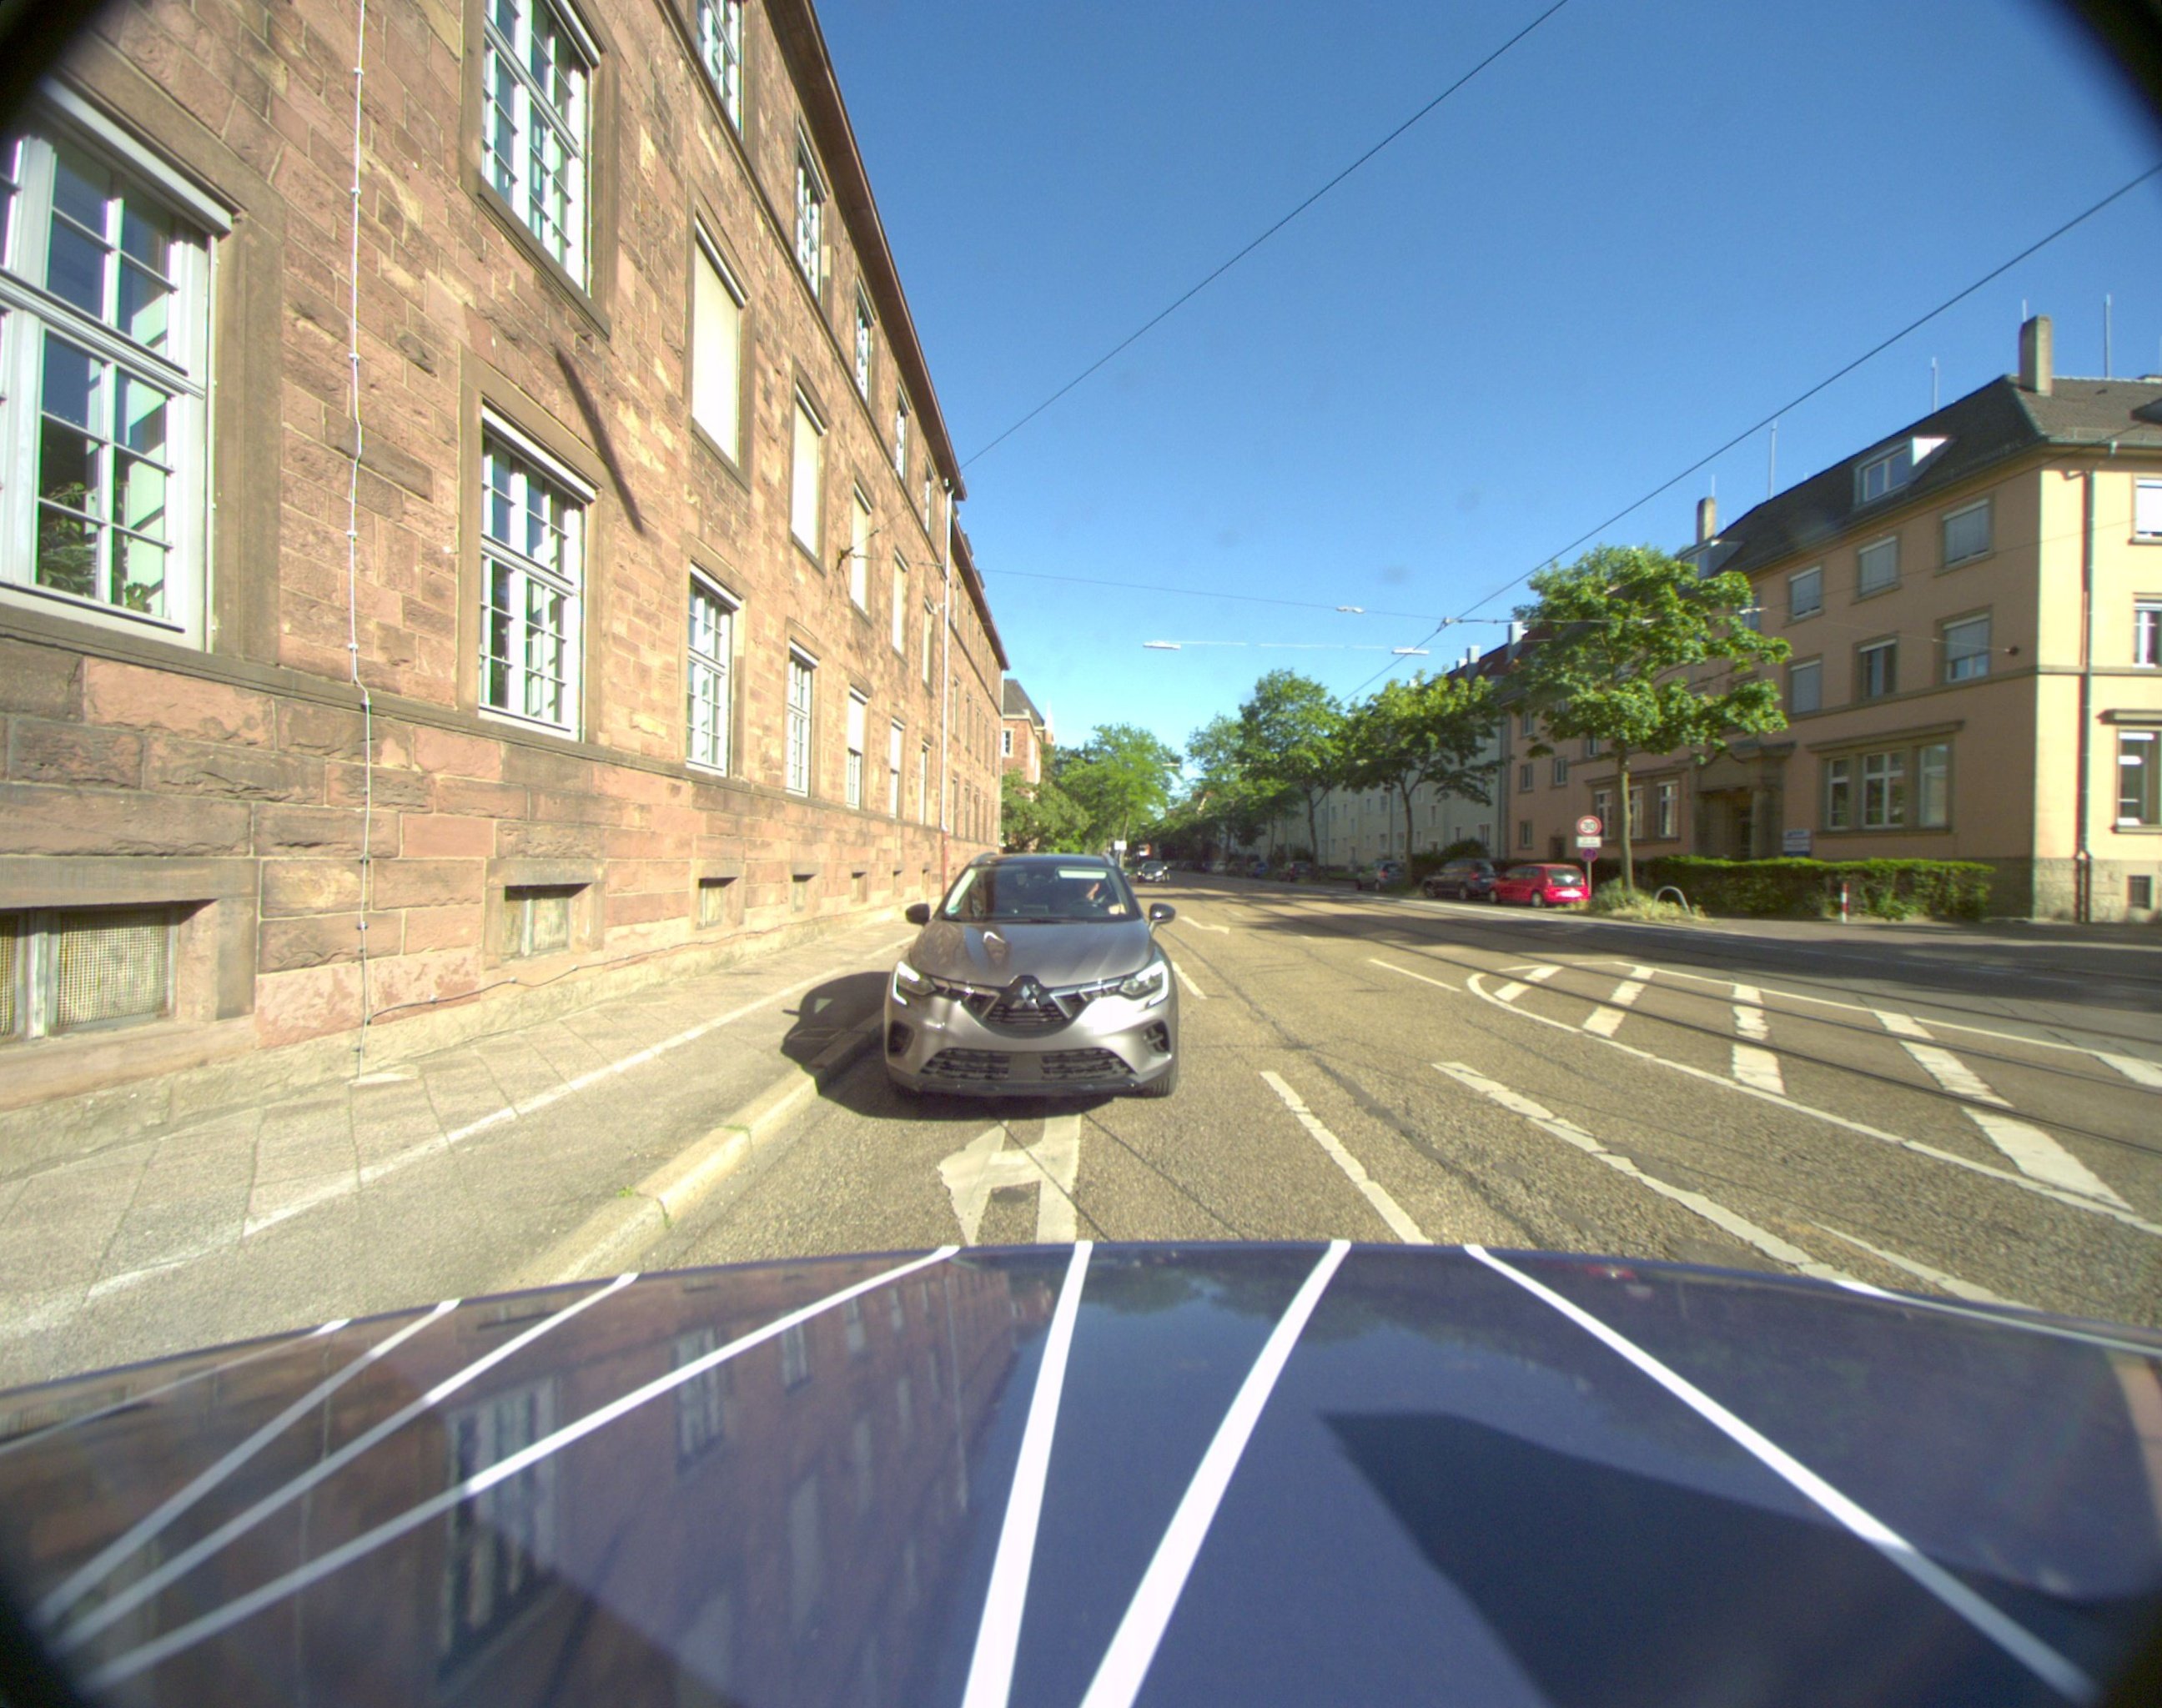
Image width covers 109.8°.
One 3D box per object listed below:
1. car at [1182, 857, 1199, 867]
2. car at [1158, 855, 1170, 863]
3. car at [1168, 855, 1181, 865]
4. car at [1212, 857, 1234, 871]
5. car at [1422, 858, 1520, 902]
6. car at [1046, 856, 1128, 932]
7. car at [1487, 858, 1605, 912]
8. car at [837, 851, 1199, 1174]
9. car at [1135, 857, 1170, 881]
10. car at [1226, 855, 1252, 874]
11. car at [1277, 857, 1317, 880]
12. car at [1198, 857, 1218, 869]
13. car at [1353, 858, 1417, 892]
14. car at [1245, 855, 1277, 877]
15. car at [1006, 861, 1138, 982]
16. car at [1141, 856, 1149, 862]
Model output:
[{"bbox_3d":[16.085,1.096,112.003,1.816,1.411,3.630,1,0,-2],"label":"car"},{"bbox_3d":[16.040,0.906,147.066,1.816,1.514,3.630,1,0,-2],"label":"car"},{"bbox_3d":[16.646,1.072,135.431,1.816,1.768,3.630,1,0,-2],"label":"car"},{"bbox_3d":[16.068,1.115,86.125,1.816,1.411,3.630,1,0,-2],"label":"car"},{"bbox_3d":[15.661,0.991,30.744,1.816,1.648,3.819,1,0,-3],"label":"car"},{"bbox_3d":[0.085,0.882,18.693,1.796,1.638,4.083,0,0,-2],"label":"car"},{"bbox_3d":[15.869,0.999,26.136,1.816,1.696,3.374,1,0,-3],"label":"car"},{"bbox_3d":[-0.355,0.792,5.702,1.796,1.595,3.798,0,0,-2],"label":"car"},{"bbox_3d":[4.859,1.005,51.835,1.912,1.510,3.999,1,0,-1],"label":"car"},{"bbox_3d":[15.936,1.037,76.766,1.816,1.929,3.630,1,0,-2],"label":"car"},{"bbox_3d":[15.817,1.070,55.797,1.816,1.589,3.630,1,0,-2],"label":"car"},{"bbox_3d":[15.887,1.146,95.052,1.816,1.411,3.630,1,0,-2],"label":"car"},{"bbox_3d":[15.752,1.047,39.554,1.816,1.648,3.877,1,0,1],"label":"car"},{"bbox_3d":[16.003,1.038,67.689,1.816,1.814,3.795,1,0,-2],"label":"car"},{"bbox_3d":[-0.170,0.940,12.247,1.796,1.595,3.798,0,0,-2],"label":"car"},{"bbox_3d":[16.144,1.252,191.580,1.816,1.411,3.630,1,0,-2],"label":"car"}]
